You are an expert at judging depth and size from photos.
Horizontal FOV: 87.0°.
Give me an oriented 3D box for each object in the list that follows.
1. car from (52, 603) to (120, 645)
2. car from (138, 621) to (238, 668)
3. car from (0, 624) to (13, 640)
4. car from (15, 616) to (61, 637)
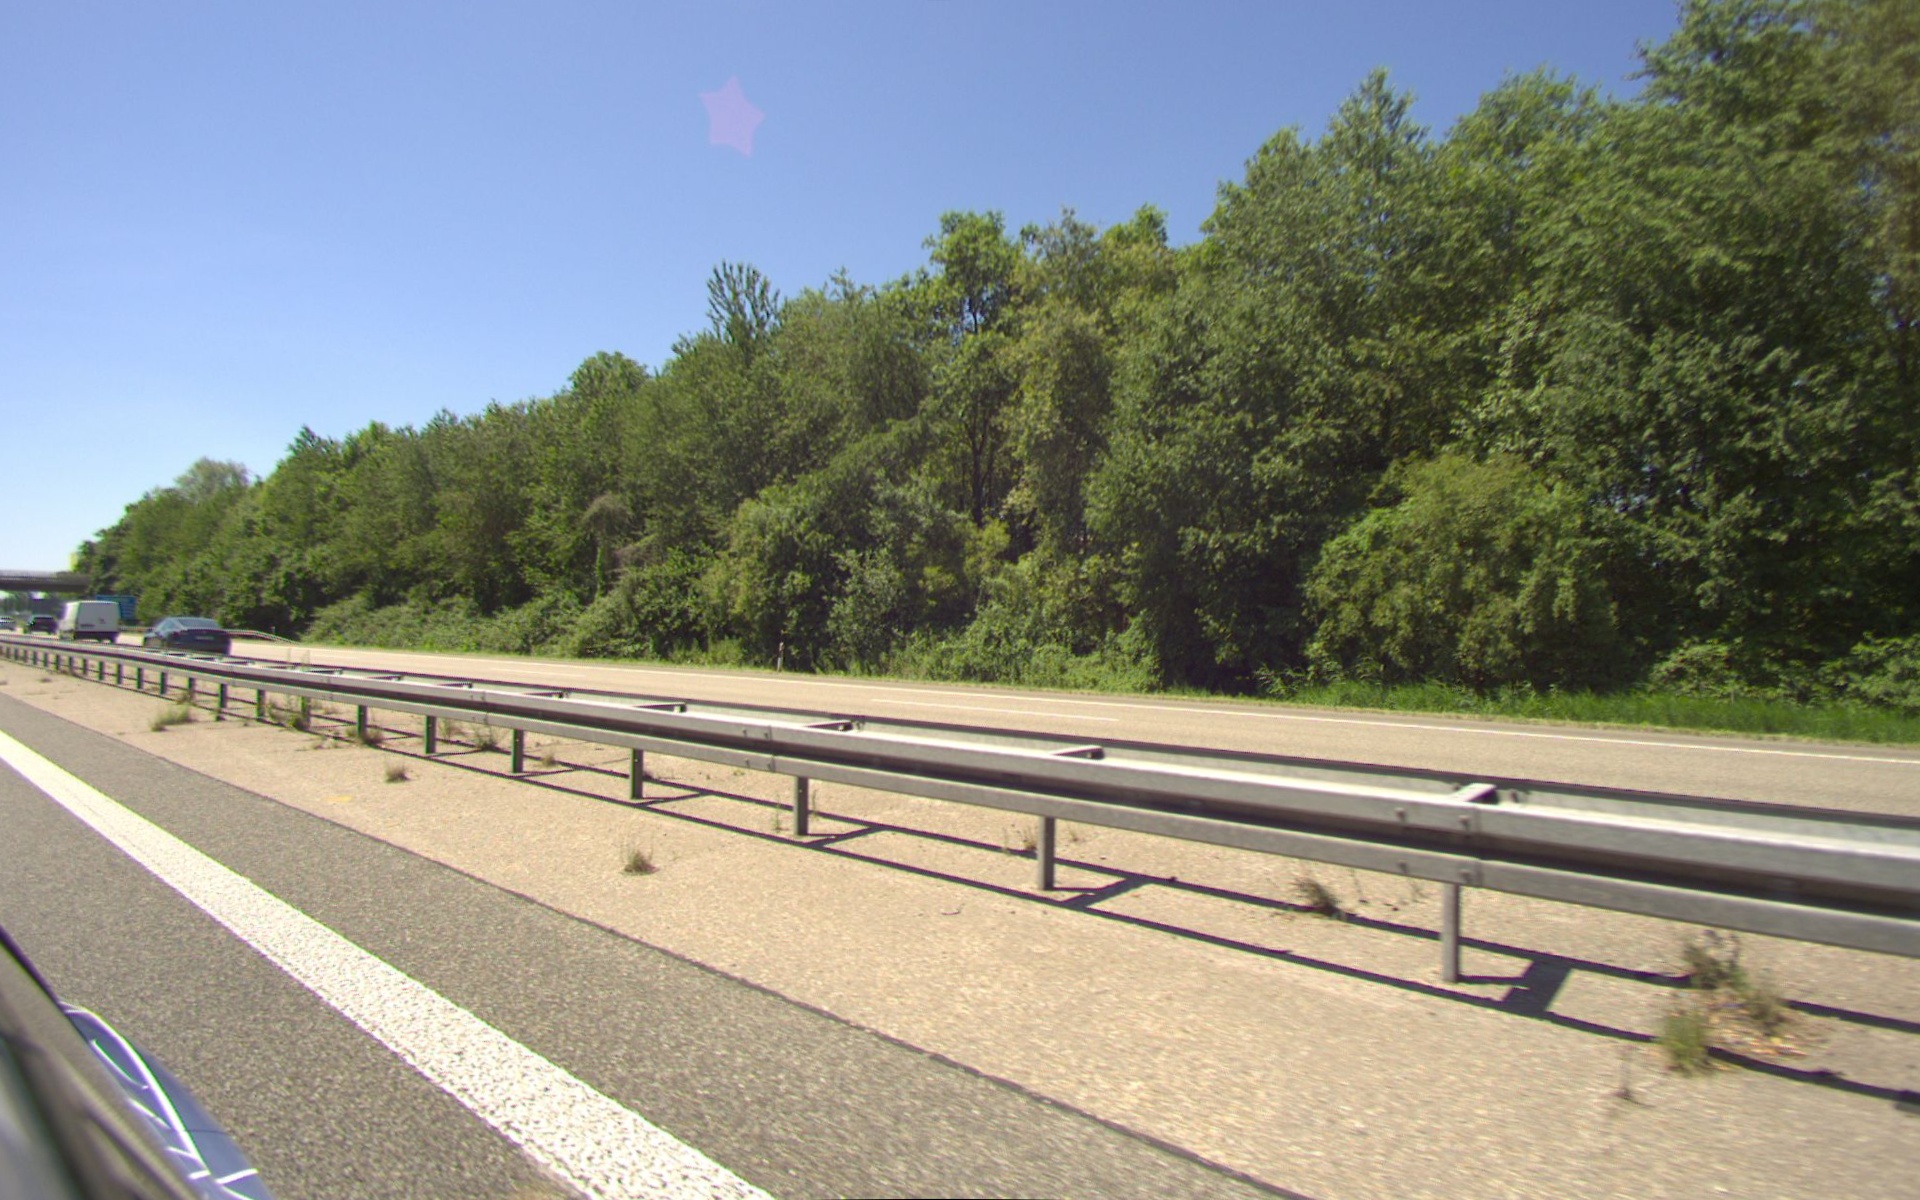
[{"bbox_3d":[-49.412,1.369,57.194,5.273,2.306,2.066,-1,-3,40],"label":"car"},{"bbox_3d":[-26.737,1.502,34.991,4.564,1.492,1.787,-1,-2,40],"label":"car"},{"bbox_3d":[-96.612,3.176,101.537,4.819,1.535,1.801,-1,-2,40],"label":"car"},{"bbox_3d":[-78.846,2.268,86.514,4.925,1.664,2.251,-1,-4,41],"label":"car"}]
